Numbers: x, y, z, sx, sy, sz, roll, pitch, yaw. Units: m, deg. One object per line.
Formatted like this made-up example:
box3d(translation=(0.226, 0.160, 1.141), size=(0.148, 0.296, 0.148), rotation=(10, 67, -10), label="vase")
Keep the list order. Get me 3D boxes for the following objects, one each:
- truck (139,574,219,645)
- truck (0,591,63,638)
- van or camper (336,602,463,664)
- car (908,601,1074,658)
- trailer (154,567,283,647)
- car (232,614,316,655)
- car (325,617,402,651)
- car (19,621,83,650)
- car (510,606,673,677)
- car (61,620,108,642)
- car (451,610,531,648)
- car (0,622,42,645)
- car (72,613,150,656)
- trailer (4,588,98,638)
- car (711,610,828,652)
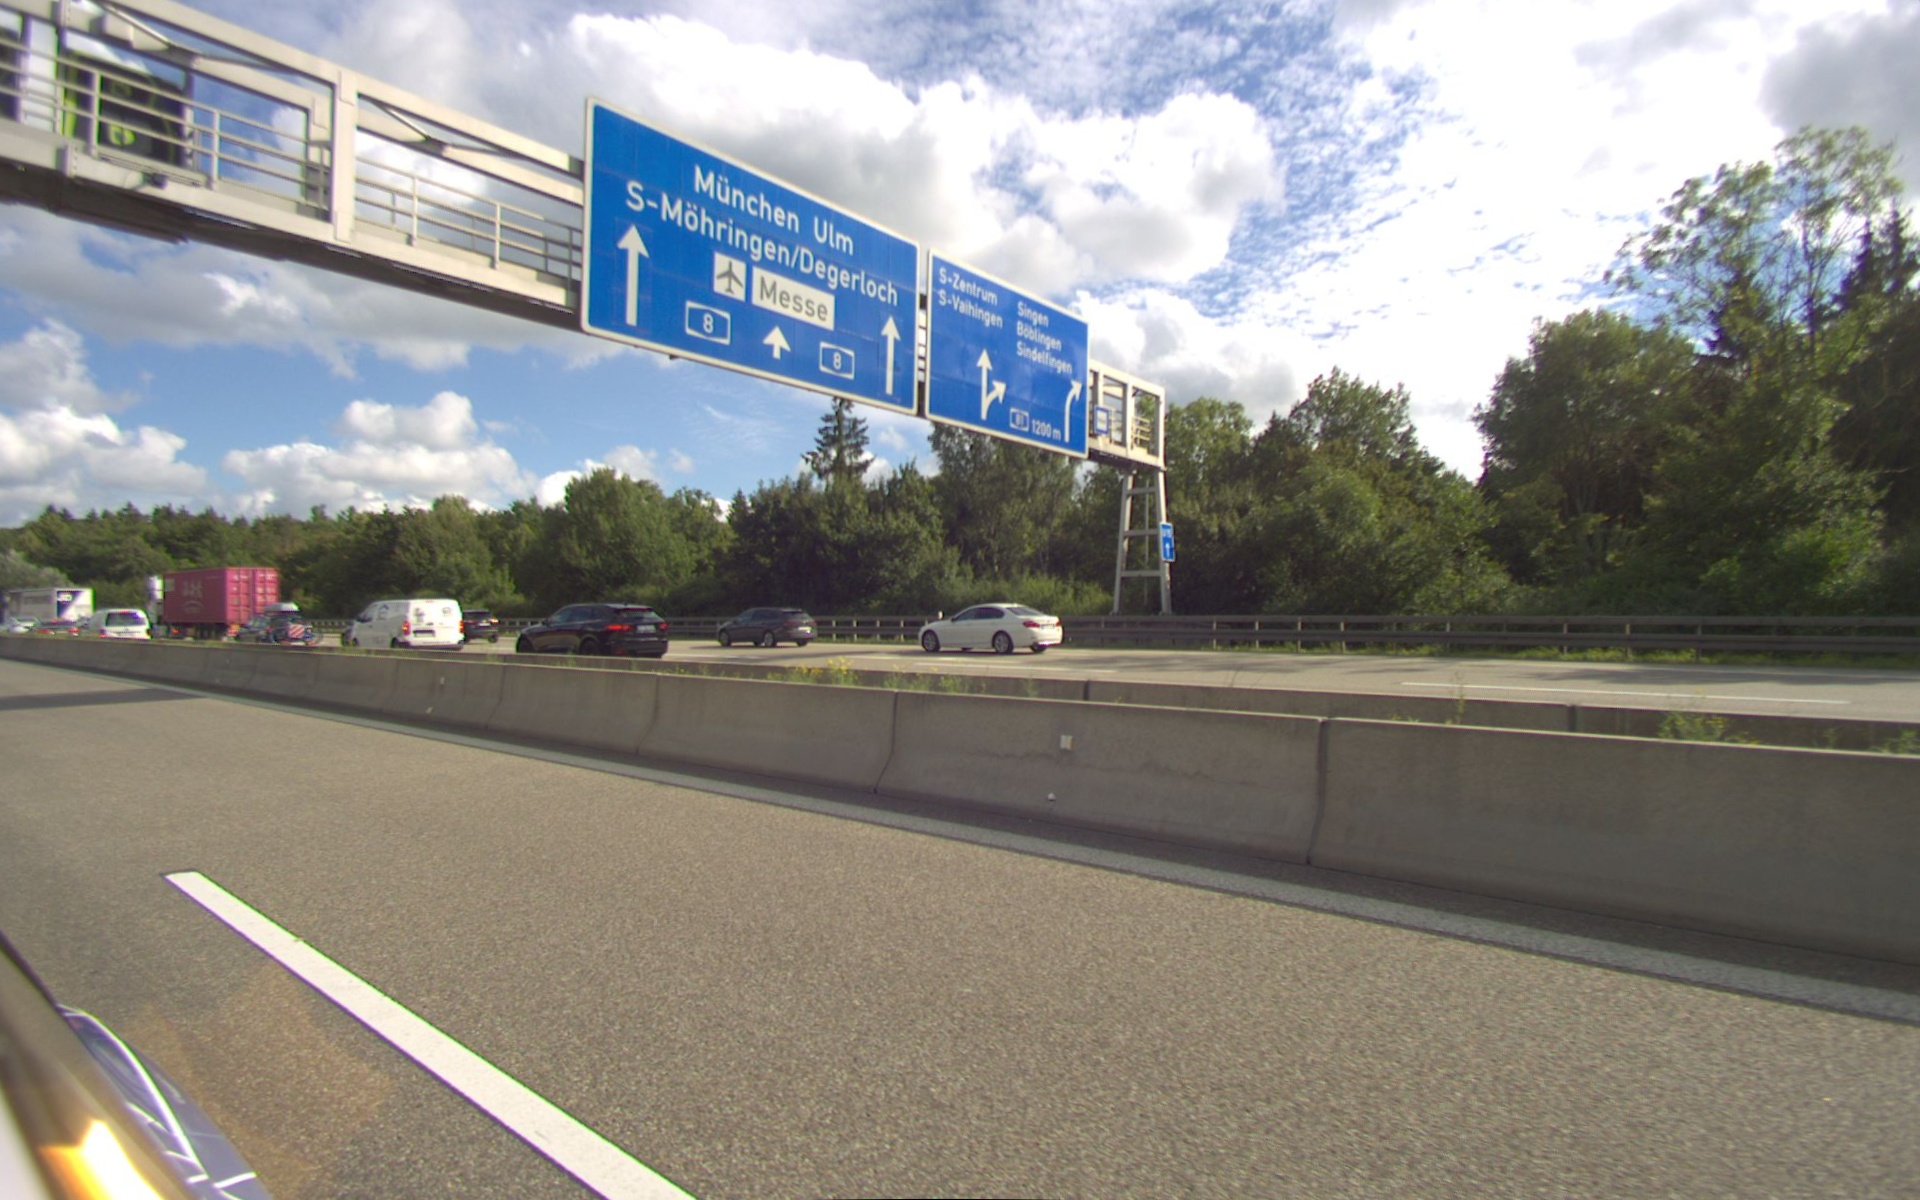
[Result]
box3d(translation=(-48.406, 0.601, 62.664), size=(5.758, 4.138, 2.712), rotation=(-1, -1, 39), label="truck")
box3d(translation=(-85.263, 1.302, 92.826), size=(6.213, 4.138, 3.288), rotation=(-1, -1, 37), label="truck")
box3d(translation=(-18.070, 1.028, 32.513), size=(5.150, 1.864, 1.843), rotation=(-1, -1, 40), label="van or camper")
box3d(translation=(0.853, 0.865, 30.536), size=(5.132, 1.557, 1.796), rotation=(-1, -1, 44), label="car")
box3d(translation=(-42.676, 0.461, 57.952), size=(13.402, 4.138, 2.712), rotation=(-1, -1, 39), label="trailer")
box3d(translation=(-27.977, 1.383, 41.240), size=(4.682, 1.540, 1.681), rotation=(-1, -1, 41), label="car")
box3d(translation=(-26.284, 1.480, 44.560), size=(3.996, 1.426, 1.621), rotation=(-1, -1, 39), label="car")
box3d(translation=(-47.319, 1.828, 52.666), size=(4.543, 1.385, 1.776), rotation=(-1, -1, 38), label="car")
box3d(translation=(-9.412, 1.010, 25.691), size=(4.489, 1.642, 1.683), rotation=(-1, -1, 36), label="car")
box3d(translation=(-66.325, 2.328, 76.628), size=(5.038, 1.630, 1.776), rotation=(-1, -1, 39), label="car")
box3d(translation=(-21.365, 1.289, 46.053), size=(4.145, 1.625, 1.797), rotation=(-1, -1, 42), label="car")
box3d(translation=(-66.912, 2.364, 71.833), size=(4.988, 1.537, 1.839), rotation=(-1, 0, 38), label="car")
box3d(translation=(-35.276, 1.404, 42.016), size=(4.516, 1.661, 1.751), rotation=(-1, -1, 40), label="car")
box3d(translation=(-80.158, 1.206, 89.098), size=(14.125, 4.138, 3.288), rotation=(-1, -1, 36), label="trailer")
box3d(translation=(-7.152, 1.133, 37.747), size=(4.703, 1.451, 1.684), rotation=(-1, -1, 40), label="car")
